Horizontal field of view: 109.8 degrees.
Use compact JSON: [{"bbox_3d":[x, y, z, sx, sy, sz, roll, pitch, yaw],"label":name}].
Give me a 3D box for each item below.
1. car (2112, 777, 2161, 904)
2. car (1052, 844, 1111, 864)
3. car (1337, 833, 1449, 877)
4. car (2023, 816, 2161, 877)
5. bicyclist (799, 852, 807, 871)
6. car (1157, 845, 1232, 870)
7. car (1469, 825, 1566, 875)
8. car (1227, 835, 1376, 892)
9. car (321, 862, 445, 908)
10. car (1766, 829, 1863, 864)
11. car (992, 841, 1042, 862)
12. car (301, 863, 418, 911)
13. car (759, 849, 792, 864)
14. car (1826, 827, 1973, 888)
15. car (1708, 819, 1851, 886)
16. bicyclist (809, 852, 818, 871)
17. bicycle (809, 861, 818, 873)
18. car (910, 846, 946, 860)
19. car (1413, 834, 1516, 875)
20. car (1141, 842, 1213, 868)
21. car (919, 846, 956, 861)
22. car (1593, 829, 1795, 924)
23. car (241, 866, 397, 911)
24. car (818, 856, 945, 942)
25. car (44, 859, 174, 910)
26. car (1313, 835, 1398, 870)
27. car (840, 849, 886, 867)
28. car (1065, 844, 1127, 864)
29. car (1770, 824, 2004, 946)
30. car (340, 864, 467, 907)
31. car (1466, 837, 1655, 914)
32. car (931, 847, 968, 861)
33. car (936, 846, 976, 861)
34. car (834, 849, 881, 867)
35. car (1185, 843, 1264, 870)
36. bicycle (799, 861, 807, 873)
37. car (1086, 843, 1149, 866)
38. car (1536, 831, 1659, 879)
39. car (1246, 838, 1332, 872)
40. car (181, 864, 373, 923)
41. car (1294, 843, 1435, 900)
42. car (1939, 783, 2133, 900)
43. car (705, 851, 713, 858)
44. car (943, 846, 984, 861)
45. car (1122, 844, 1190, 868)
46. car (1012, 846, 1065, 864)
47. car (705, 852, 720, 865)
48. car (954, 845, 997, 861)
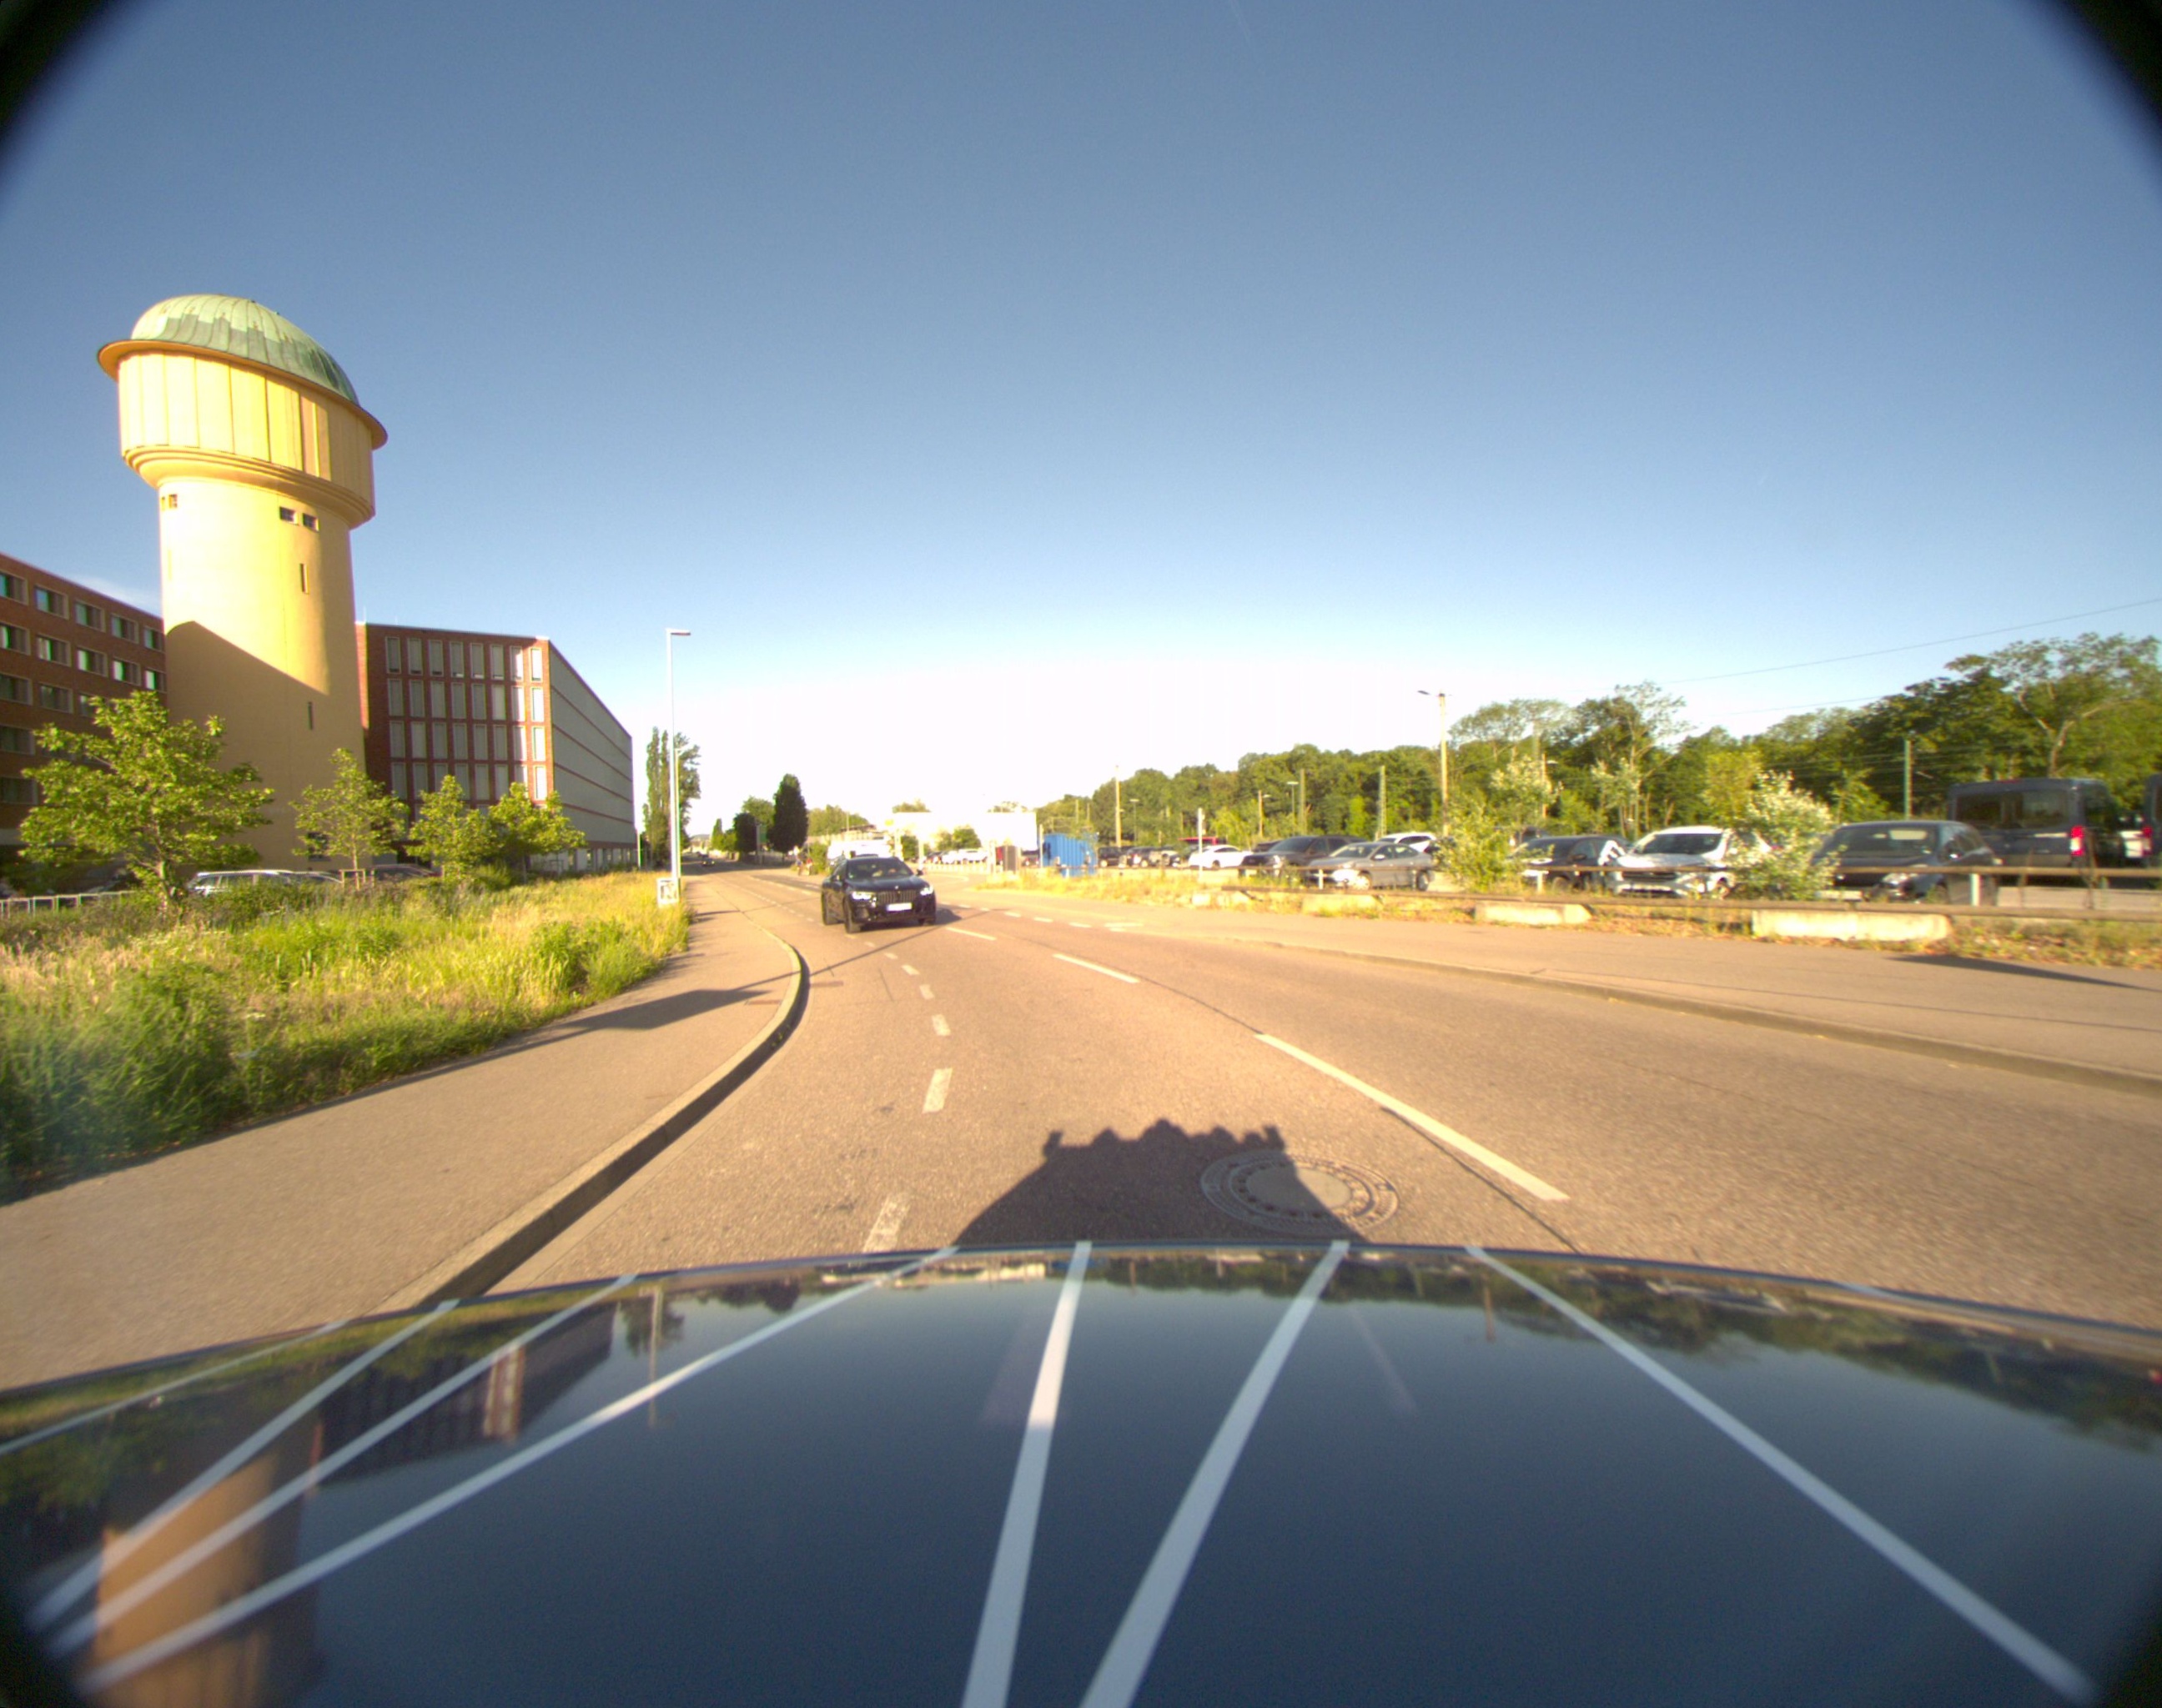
[{"bbox_3d":[23.935,-0.361,15.721,5.520,2.502,2.396,-2,1,-29],"label":"car"},{"bbox_3d":[0.060,-0.004,62.558,4.453,1.370,1.865,-3,2,-29],"label":"car"},{"bbox_3d":[14.206,0.004,34.593,4.707,1.685,2.035,-4,2,-25],"label":"car"},{"bbox_3d":[28.114,-0.238,20.835,4.208,1.490,1.982,-2,1,-26],"label":"car"},{"bbox_3d":[-27.084,0.728,74.073,0.569,1.860,0.851,-3,1,-27],"label":"bicyclist"},{"bbox_3d":[7.241,0.198,48.296,4.453,1.435,1.865,-2,1,-29],"label":"car"},{"bbox_3d":[17.199,-0.182,29.892,3.785,1.724,1.767,-4,2,-34],"label":"car"},{"bbox_3d":[7.253,0.305,24.947,4.545,1.733,2.064,0,0,-28],"label":"car"},{"bbox_3d":[-34.164,1.486,37.343,4.004,1.969,1.996,-2,1,-23],"label":"car"},{"bbox_3d":[33.415,-0.348,34.612,3.938,1.423,1.873,-2,1,-25],"label":"car"},{"bbox_3d":[-6.210,-0.239,73.981,4.451,1.767,1.866,-3,2,-21],"label":"car"},{"bbox_3d":[-33.427,1.491,35.343,3.488,2.010,1.832,-2,1,-26],"label":"car"},{"bbox_3d":[-60.186,0.561,149.923,5.781,2.686,1.996,-2,1,-27],"label":"car"},{"bbox_3d":[22.718,0.061,21.083,3.756,1.499,1.830,-2,1,-27],"label":"car"},{"bbox_3d":[20.795,-0.075,22.611,4.004,1.572,1.824,-6,3,-27],"label":"car"},{"bbox_3d":[-25.542,0.706,72.541,0.569,1.860,0.851,-3,1,-27],"label":"bicyclist"},{"bbox_3d":[-25.566,1.261,72.628,0.559,1.058,1.721,-3,1,-26],"label":"bicycle"},{"bbox_3d":[-19.874,-0.149,98.810,1.739,1.600,4.313,-1,2,43],"label":"car"},{"bbox_3d":[16.261,0.012,32.184,3.948,1.479,1.887,-3,2,-27],"label":"car"},{"bbox_3d":[6.437,0.056,50.842,4.453,1.458,1.865,-3,2,-29],"label":"car"},{"bbox_3d":[-18.296,-0.102,96.749,1.781,1.615,4.329,-1,2,43],"label":"car"},{"bbox_3d":[12.203,0.363,15.076,4.064,1.601,1.882,-2,1,-32],"label":"car"},{"bbox_3d":[-30.644,1.340,30.714,4.004,1.541,1.830,-2,1,-23],"label":"car"},{"bbox_3d":[-4.986,0.941,18.436,2.051,1.705,4.741,-3,1,-25],"label":"car"},{"bbox_3d":[-47.568,1.409,37.362,1.871,2.251,4.927,-2,1,-26],"label":"car"},{"bbox_3d":[13.570,-0.098,37.576,4.005,1.496,1.722,-3,2,-29],"label":"car"},{"bbox_3d":[-24.492,0.393,85.406,4.663,1.731,1.797,-3,2,-29],"label":"car"},{"bbox_3d":[1.216,-0.009,60.242,4.453,1.370,1.942,-3,2,-29],"label":"car"},{"bbox_3d":[13.491,0.409,12.674,4.151,1.645,1.868,-3,1,-32],"label":"car"},{"bbox_3d":[-35.584,1.601,40.101,4.537,2.002,1.996,-2,1,-25],"label":"car"},{"bbox_3d":[11.030,0.432,17.449,4.005,1.507,1.852,-2,1,-26],"label":"car"},{"bbox_3d":[-15.799,-0.031,91.386,4.018,1.479,1.761,-4,2,-32],"label":"car"},{"bbox_3d":[-14.583,-0.034,88.905,4.163,1.479,1.761,-4,2,-32],"label":"car"},{"bbox_3d":[-25.795,0.438,87.826,4.821,1.790,1.995,-2,1,-27],"label":"car"},{"bbox_3d":[8.700,0.146,45.975,4.453,1.370,1.865,-3,2,-29],"label":"car"},{"bbox_3d":[-27.084,1.270,74.105,0.504,1.118,1.562,-3,1,-26],"label":"bicycle"},{"bbox_3d":[2.789,0.045,58.077,4.453,1.505,1.865,-3,2,-29],"label":"car"},{"bbox_3d":[18.686,0.013,27.490,4.005,1.585,1.996,-2,1,-27],"label":"car"},{"bbox_3d":[11.213,0.025,40.863,4.208,1.580,1.982,-4,2,-29],"label":"car"},{"bbox_3d":[-29.269,1.386,27.879,4.338,1.818,1.996,-2,1,-26],"label":"car"},{"bbox_3d":[8.362,0.468,22.350,3.931,1.445,1.834,-2,1,-32],"label":"car"},{"bbox_3d":[22.557,-0.320,17.931,4.488,2.453,2.124,-2,1,-29],"label":"car"},{"bbox_3d":[-104.564,0.118,213.428,2.003,2.002,3.991,-2,1,-27],"label":"car"},{"bbox_3d":[-13.380,-0.038,86.706,4.165,1.477,1.757,-4,2,-31],"label":"car"},{"bbox_3d":[5.276,0.095,53.244,4.453,1.421,1.865,-3,2,-29],"label":"car"},{"bbox_3d":[-3.889,0.062,69.434,4.451,1.436,1.918,-3,1,-22],"label":"car"},{"bbox_3d":[-60.662,0.710,125.118,2.003,2.002,3.991,-2,1,-27],"label":"car"},{"bbox_3d":[-11.756,-0.084,84.942,4.304,1.538,1.823,-4,2,-31],"label":"car"}]
